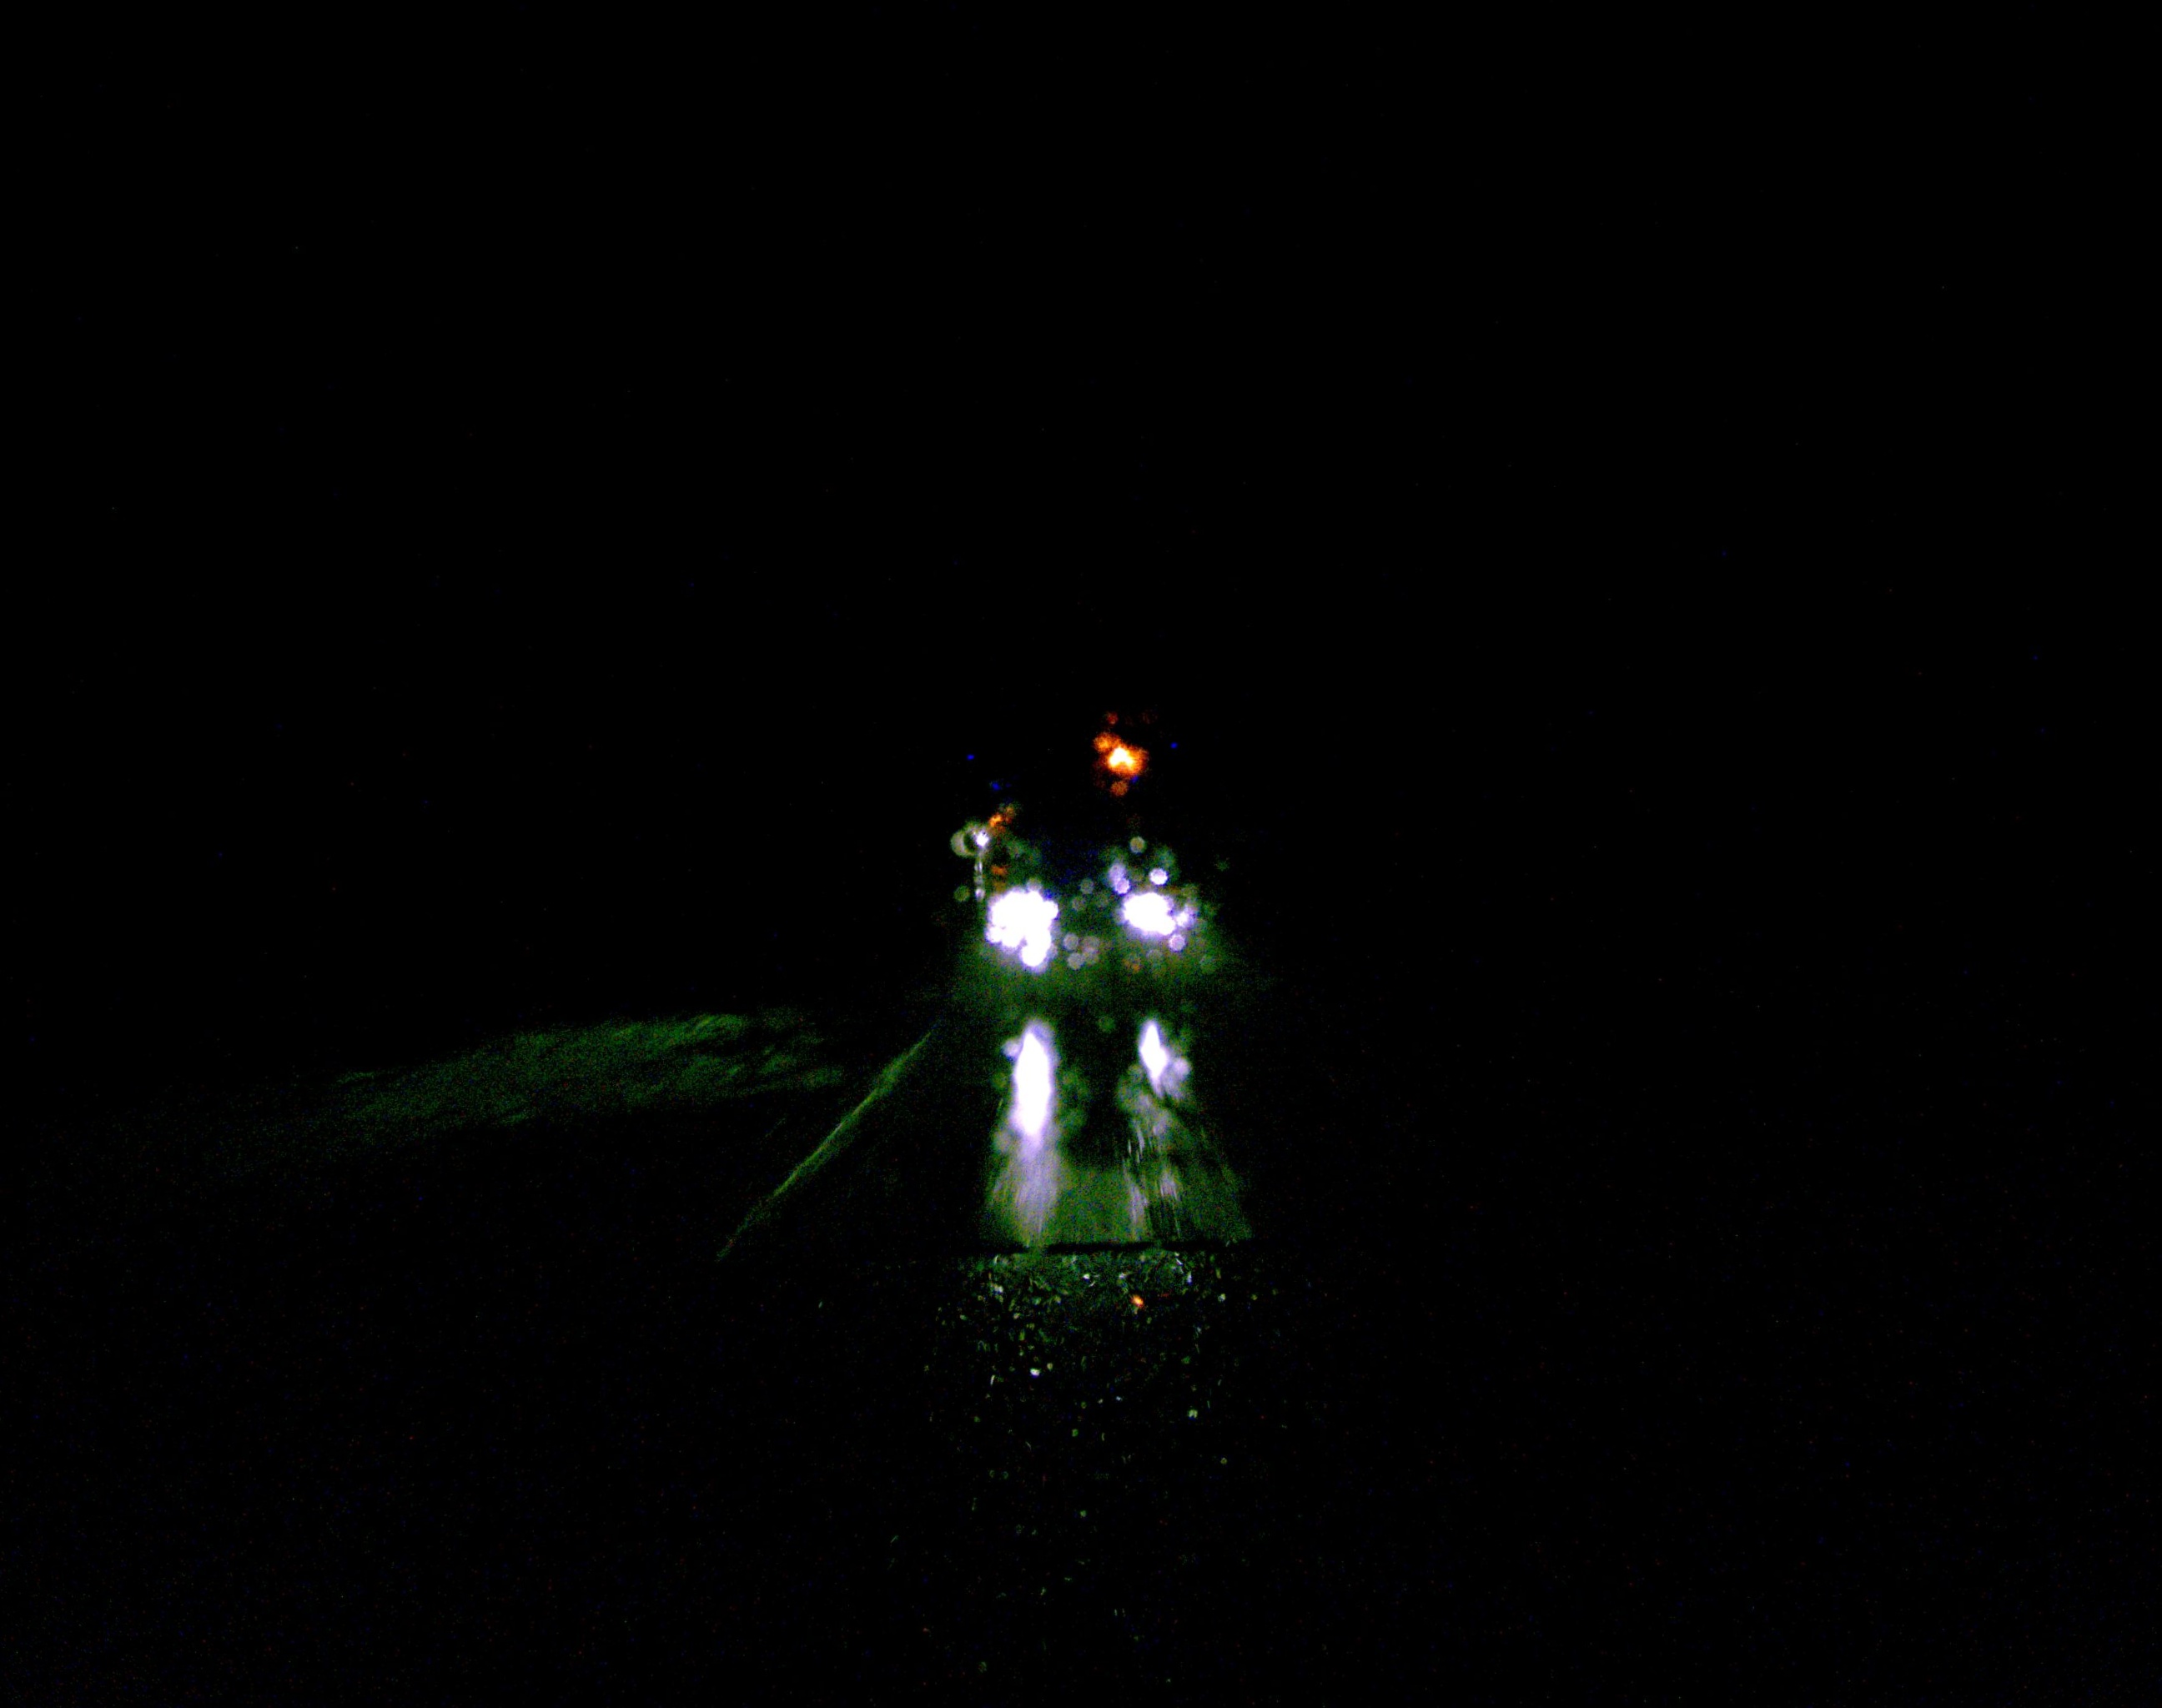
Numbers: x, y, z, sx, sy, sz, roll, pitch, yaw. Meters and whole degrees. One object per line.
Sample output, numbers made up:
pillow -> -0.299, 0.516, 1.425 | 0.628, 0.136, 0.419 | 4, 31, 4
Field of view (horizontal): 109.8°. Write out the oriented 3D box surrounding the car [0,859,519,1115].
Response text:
car -> -7.213, 0.834, 5.788 | 4.478, 1.577, 1.940 | 0, 0, 3

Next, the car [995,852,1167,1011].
car -> -0.143, 0.872, 10.826 | 1.894, 1.678, 4.337 | -3, 1, -4
